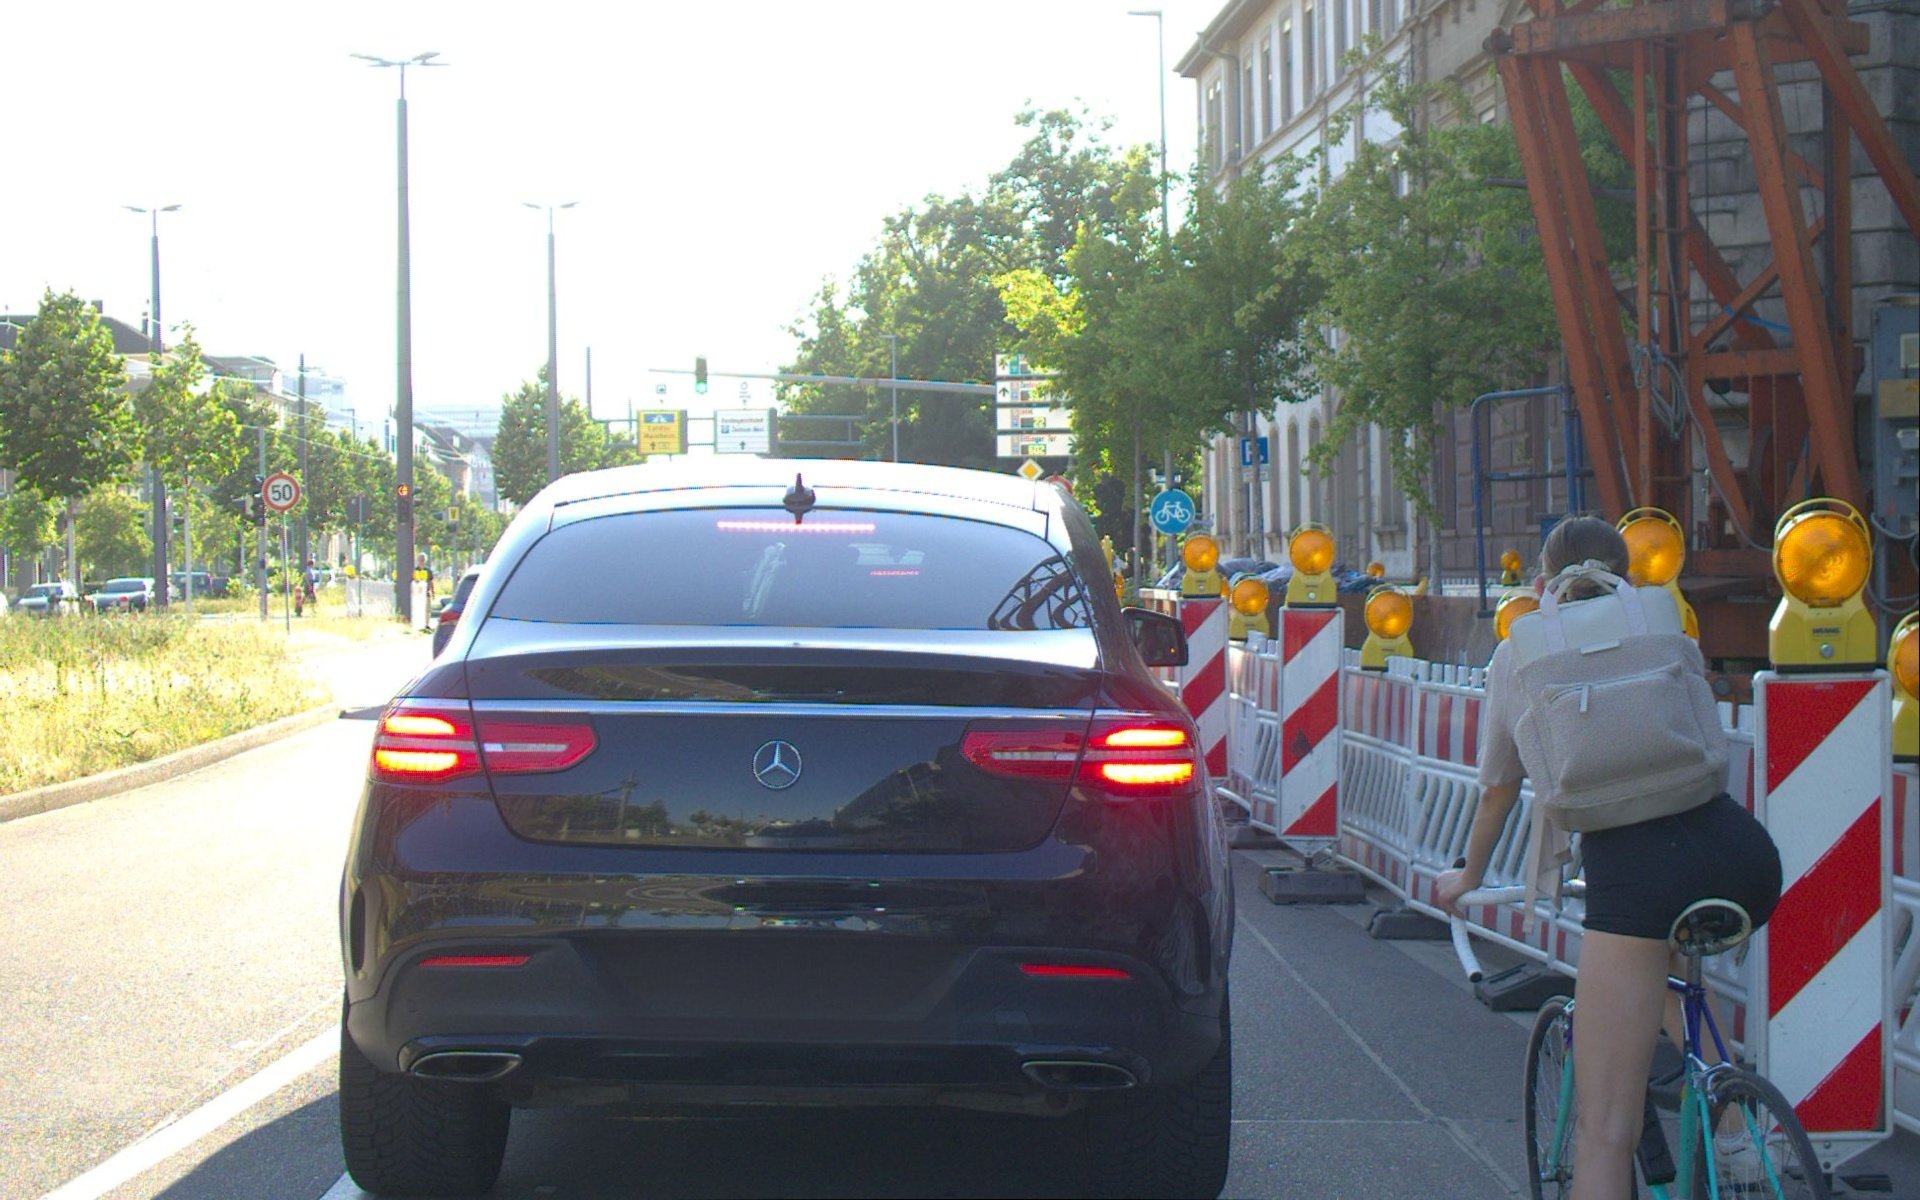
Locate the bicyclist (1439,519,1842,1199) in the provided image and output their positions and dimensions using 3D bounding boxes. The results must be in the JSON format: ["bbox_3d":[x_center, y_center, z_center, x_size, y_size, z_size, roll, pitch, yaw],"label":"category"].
[{"bbox_3d":[1.150,0.564,5.899,0.522,1.391,0.615,1,0,-3],"label":"bicyclist"}]

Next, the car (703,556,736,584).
[{"bbox_3d":[-12.860,-1.613,183.982,1.708,1.437,3.583,1,1,-3],"label":"car"}]

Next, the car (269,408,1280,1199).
[{"bbox_3d":[-0.393,0.493,8.850,1.993,1.766,4.000,1,1,-1],"label":"car"}]

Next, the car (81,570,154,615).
[{"bbox_3d":[-28.124,-0.268,114.830,1.708,1.437,3.583,1,1,-3],"label":"car"}]

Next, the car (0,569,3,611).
[{"bbox_3d":[-33.425,-0.346,115.510,1.708,1.437,3.583,1,1,-3],"label":"car"}]

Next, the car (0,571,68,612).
[{"bbox_3d":[-33.980,-0.329,126.157,1.708,1.437,3.583,1,1,-3],"label":"car"}]

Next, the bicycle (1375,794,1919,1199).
[{"bbox_3d":[1.140,0.924,6.027,0.512,1.048,1.725,1,1,-3],"label":"bicycle"}]

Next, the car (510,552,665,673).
[{"bbox_3d":[-4.642,0.134,43.264,1.708,1.437,3.583,1,1,-3],"label":"car"}]

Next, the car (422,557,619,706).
[{"bbox_3d":[-4.479,0.292,35.435,1.708,1.437,3.583,1,1,-3],"label":"car"}]
